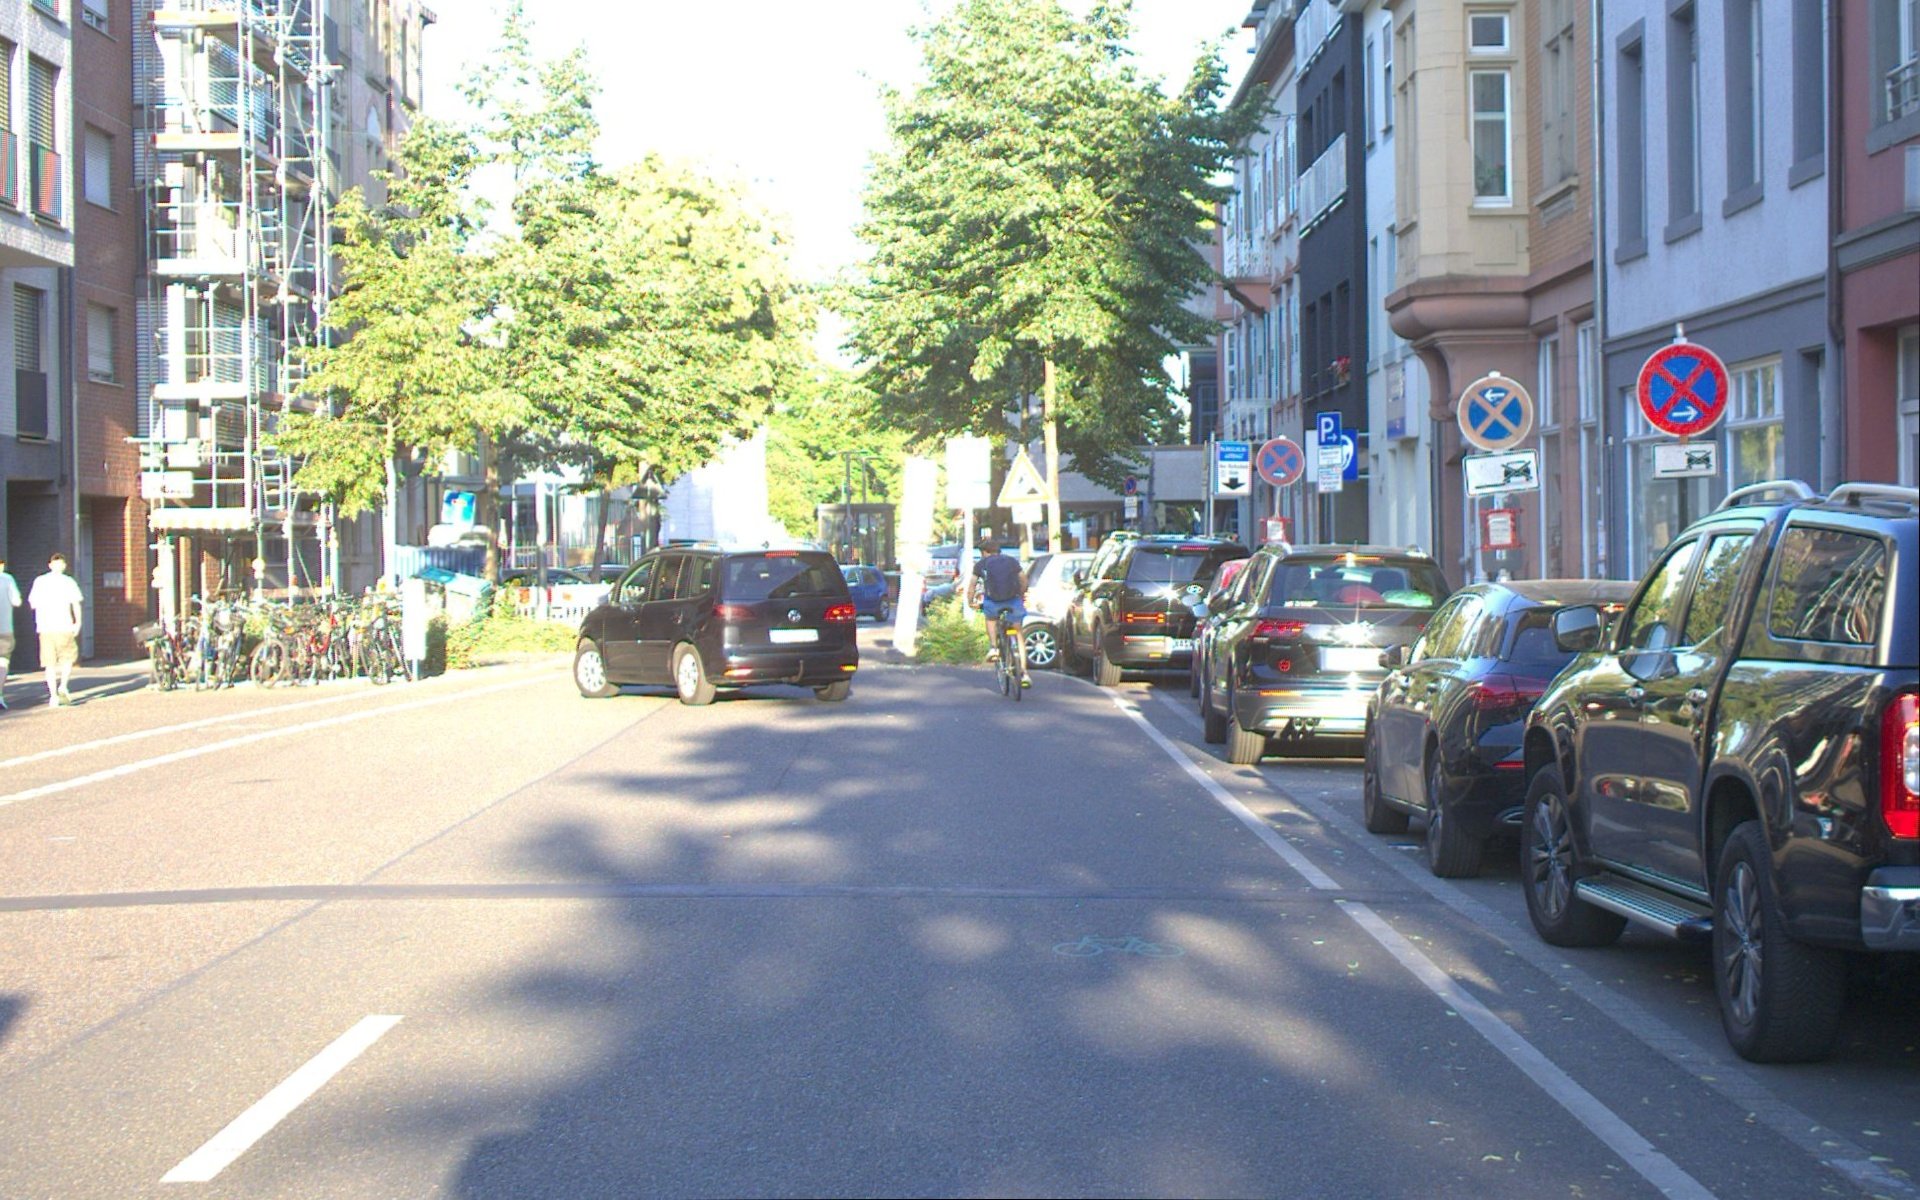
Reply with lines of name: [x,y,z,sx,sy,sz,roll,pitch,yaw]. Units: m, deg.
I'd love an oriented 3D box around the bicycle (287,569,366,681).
bicycle: [-8.177,0.296,44.486,0.892,1.391,3.167,0,1,-9]

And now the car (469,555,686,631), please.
car: [-7.656,-0.138,69.051,4.103,1.461,1.889,1,0,2]

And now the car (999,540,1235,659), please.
car: [2.063,-0.007,45.682,2.968,1.531,1.433,1,0,-4]

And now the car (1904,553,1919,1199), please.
car: [2.919,0.685,5.059,1.812,1.522,4.993,1,0,2]

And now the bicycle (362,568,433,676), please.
bicycle: [-7.288,0.262,44.616,0.844,1.346,3.188,-1,1,-8]

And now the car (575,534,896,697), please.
car: [-2.433,0.136,36.028,1.993,1.596,4.510,1,0,-23]

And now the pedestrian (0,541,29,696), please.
pedestrian: [-11.138,0.205,39.576,0.716,1.761,0.694,1,0,-8]

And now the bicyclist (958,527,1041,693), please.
bicyclist: [0.410,0.101,35.997,0.780,1.690,1.007,-1,0,-2]

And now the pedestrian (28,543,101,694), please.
pedestrian: [-10.425,0.215,40.035,0.716,1.734,0.739,1,0,-8]

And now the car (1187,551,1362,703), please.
car: [3.202,0.251,35.464,1.587,1.478,3.266,1,0,2]

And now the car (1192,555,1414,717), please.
car: [3.083,0.298,31.518,1.666,1.373,3.802,1,0,0]

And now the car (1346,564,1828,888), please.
car: [3.138,0.568,18.037,1.762,1.478,4.307,1,0,0]

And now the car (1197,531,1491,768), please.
car: [2.874,0.336,26.539,1.812,1.662,4.206,1,0,0]

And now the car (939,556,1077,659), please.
car: [0.896,0.129,67.848,2.265,1.760,4.510,5,0,-3]

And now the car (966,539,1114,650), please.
car: [1.221,-0.099,54.631,1.993,1.662,4.510,1,0,-3]

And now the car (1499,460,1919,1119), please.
car: [3.222,0.496,11.683,1.883,1.748,5.059,1,0,-1]

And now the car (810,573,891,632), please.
car: [-2.762,0.044,87.740,1.838,1.436,4.331,1,0,1]

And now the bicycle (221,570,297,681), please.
bicycle: [-9.026,0.303,44.352,0.780,1.368,3.143,1,0,-9]

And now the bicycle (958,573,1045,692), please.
bicycle: [0.425,0.328,36.155,0.780,1.200,2.021,-1,0,-2]

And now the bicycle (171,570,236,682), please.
bicycle: [-9.719,0.312,44.236,0.584,1.391,3.162,1,0,-9]

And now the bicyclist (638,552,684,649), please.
bicyclist: [-5.718,-0.001,65.730,0.780,1.823,1.007,-1,0,-2]

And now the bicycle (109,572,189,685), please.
bicycle: [-10.389,0.346,44.133,0.721,1.391,3.154,1,0,-9]

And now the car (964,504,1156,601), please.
car: [2.153,-1.014,73.243,3.987,2.007,2.000,-1,1,4]

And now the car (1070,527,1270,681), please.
car: [2.392,0.029,40.117,1.824,1.689,4.369,1,0,-3]
